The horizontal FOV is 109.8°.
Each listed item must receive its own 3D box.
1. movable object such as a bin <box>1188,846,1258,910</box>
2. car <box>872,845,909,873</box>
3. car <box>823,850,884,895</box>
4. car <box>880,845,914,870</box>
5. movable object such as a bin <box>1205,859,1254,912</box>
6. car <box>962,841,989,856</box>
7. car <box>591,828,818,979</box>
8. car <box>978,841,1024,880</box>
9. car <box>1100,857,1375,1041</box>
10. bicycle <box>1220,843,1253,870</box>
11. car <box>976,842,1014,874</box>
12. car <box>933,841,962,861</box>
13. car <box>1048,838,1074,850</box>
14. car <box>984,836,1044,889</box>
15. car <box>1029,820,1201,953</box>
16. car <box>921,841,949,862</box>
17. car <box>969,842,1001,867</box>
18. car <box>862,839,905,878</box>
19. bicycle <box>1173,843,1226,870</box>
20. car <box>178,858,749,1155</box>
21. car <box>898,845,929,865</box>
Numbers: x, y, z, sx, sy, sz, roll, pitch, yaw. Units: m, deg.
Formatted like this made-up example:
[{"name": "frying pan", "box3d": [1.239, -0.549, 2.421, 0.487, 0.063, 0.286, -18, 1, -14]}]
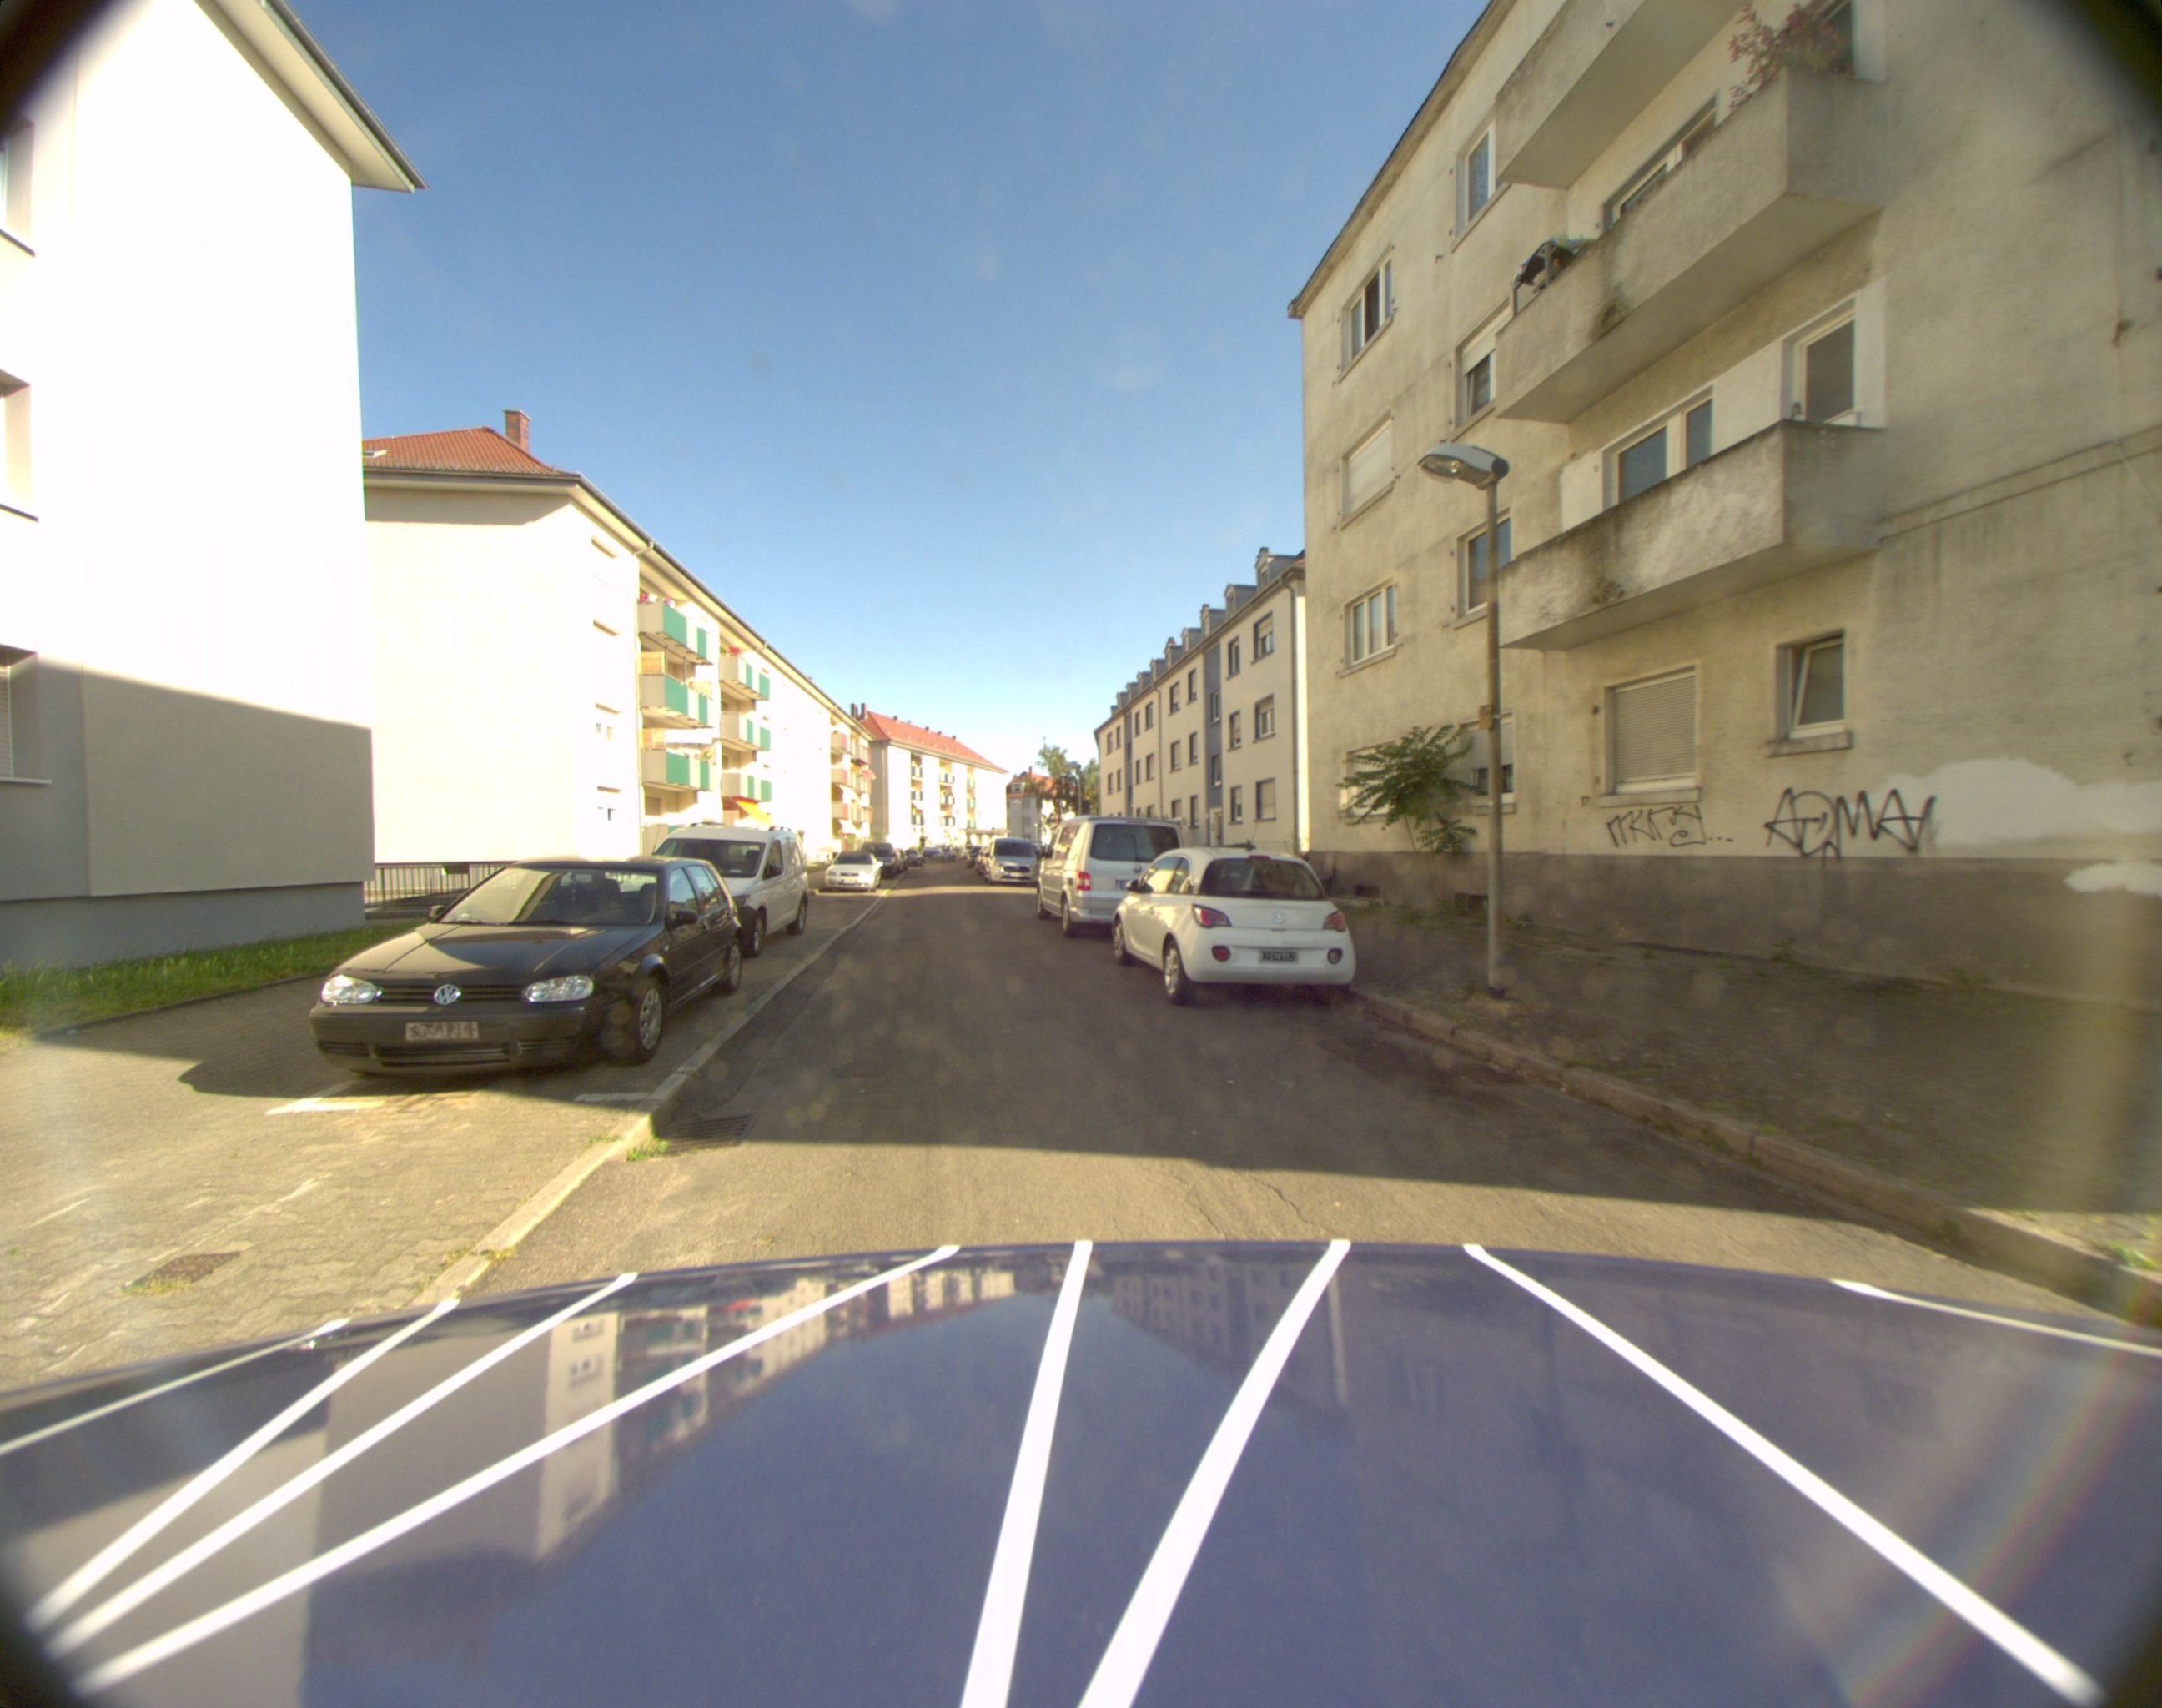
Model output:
[{"name": "movable object such as a bin", "box3d": [3.261, 0.534, 17.490, 1.260, 1.369, 1.043, -2, 2, -11]}, {"name": "car", "box3d": [-10.710, 0.251, 42.932, 1.645, 1.451, 3.856, 1, 1, -8]}, {"name": "car", "box3d": [-8.076, 0.616, 27.315, 1.748, 1.398, 4.308, 1, 1, -12]}, {"name": "car", "box3d": [-11.530, 0.204, 47.804, 1.669, 1.440, 3.856, 1, 1, -8]}, {"name": "movable object such as a bin", "box3d": [3.199, 0.662, 16.474, 0.775, 1.073, 0.815, -2, 2, -11]}, {"name": "car", "box3d": [-11.803, -0.625, 85.091, 1.756, 1.625, 4.408, 1, 1, 10]}, {"name": "car", "box3d": [-5.420, 0.583, 11.646, 1.804, 1.835, 4.534, 2, 1, -9]}, {"name": "car", "box3d": [-3.713, 0.264, 34.742, 1.679, 1.582, 4.159, 3, 1, -11]}, {"name": "car", "box3d": [1.405, 0.811, 8.317, 1.692, 1.450, 3.717, 1, 1, -9]}, {"name": "bicycle", "box3d": [6.066, 0.076, 29.756, 0.500, 0.956, 2.072, -4, 2, -9]}, {"name": "car", "box3d": [-4.485, 0.179, 39.107, 1.649, 1.510, 3.698, 2, 1, -10]}, {"name": "car", "box3d": [-12.731, -0.339, 72.663, 1.757, 1.725, 4.000, -5, 1, 2]}, {"name": "car", "box3d": [-2.570, -1.318, 98.734, 1.571, 1.417, 3.986, 3, 1, 30]}, {"name": "car", "box3d": [-2.648, 0.246, 28.906, 1.806, 1.819, 4.943, 2, 1, -10]}, {"name": "car", "box3d": [0.361, 0.441, 13.598, 1.958, 1.922, 4.850, 1, 1, -11]}, {"name": "car", "box3d": [-12.848, -0.219, 66.939, 1.581, 1.752, 4.238, 1, 1, 0]}, {"name": "car", "box3d": [-6.317, -0.007, 49.489, 1.906, 1.450, 4.391, 2, 1, -9]}, {"name": "car", "box3d": [-9.824, 0.165, 38.057, 1.765, 1.829, 4.914, 1, 1, -11]}, {"name": "bicycle", "box3d": [4.893, 0.080, 31.384, 2.074, 0.956, 0.500, -4, 2, -10]}, {"name": "car", "box3d": [-4.088, 0.816, 6.022, 1.804, 1.407, 4.044, 2, 1, -11]}, {"name": "car", "box3d": [-12.506, 0.053, 56.794, 1.678, 1.411, 3.858, 1, 1, -4]}]
